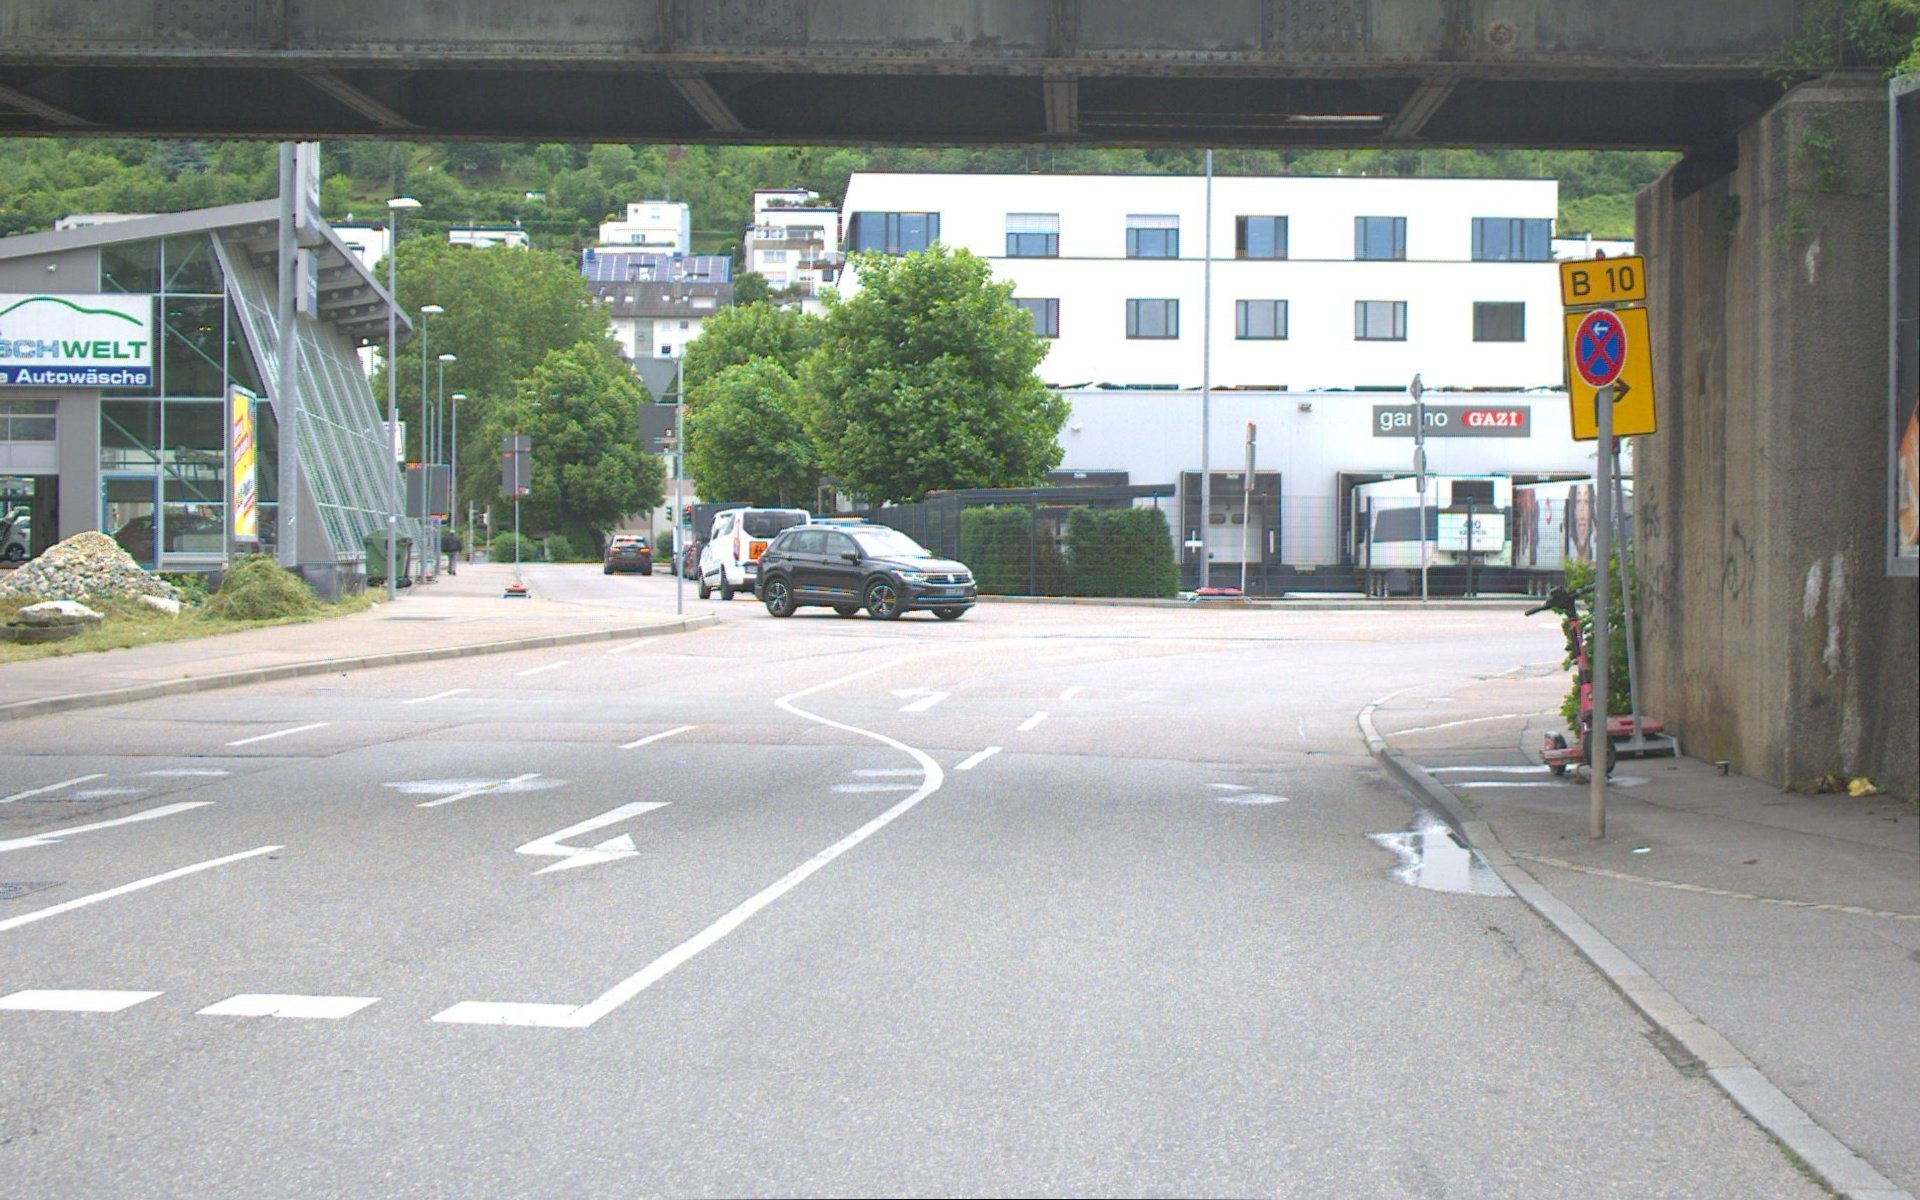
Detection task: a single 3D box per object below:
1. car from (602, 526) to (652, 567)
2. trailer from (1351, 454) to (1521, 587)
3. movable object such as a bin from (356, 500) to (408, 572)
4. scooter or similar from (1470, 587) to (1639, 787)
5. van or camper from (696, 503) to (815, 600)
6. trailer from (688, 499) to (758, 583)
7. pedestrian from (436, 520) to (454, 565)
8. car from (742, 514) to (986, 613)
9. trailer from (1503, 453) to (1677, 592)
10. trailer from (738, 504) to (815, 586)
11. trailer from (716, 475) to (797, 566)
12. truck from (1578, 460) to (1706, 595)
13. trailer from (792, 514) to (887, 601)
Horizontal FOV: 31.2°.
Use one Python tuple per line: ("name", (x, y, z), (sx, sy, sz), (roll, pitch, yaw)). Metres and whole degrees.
("car", (-13.847, -2.216, 143.119), (1.993, 1.678, 4.001), (0, 1, -4))
("trailer", (15.377, -2.554, 112.123), (3.080, 4.064, 11.412), (1, 1, -4))
("movable object such as a bin", (-14.273, -1.574, 84.906), (1.142, 1.751, 1.059), (0, 0, -4))
("scooter or similar", (3.910, 0.551, 22.735), (0.504, 1.232, 1.670), (-4, 1, -10))
("van or camper", (-4.544, -1.062, 75.893), (2.098, 2.076, 4.206), (0, 1, -11))
("trailer", (-8.526, -2.142, 123.516), (2.278, 2.943, 4.001), (1, 2, -7))
("pedestrian", (-19.247, -2.155, 128.567), (0.627, 1.667, 0.758), (0, 0, -10))
("car", (-1.721, -0.649, 60.425), (1.994, 1.678, 4.369), (0, 1, -40))
("trailer", (20.527, -2.495, 112.821), (2.783, 4.286, 11.184), (1, 1, -4))
("trailer", (-5.439, -1.654, 101.658), (1.993, 2.335, 4.001), (1, 2, -7))
("trailer", (-8.648, -3.380, 145.657), (3.067, 3.746, 4.935), (1, 2, -7))
("truck", (21.015, -2.230, 106.149), (2.793, 4.026, 4.166), (1, 1, -4))
("trailer", (-2.972, -1.063, 84.054), (1.993, 2.006, 4.001), (1, 2, -7))
